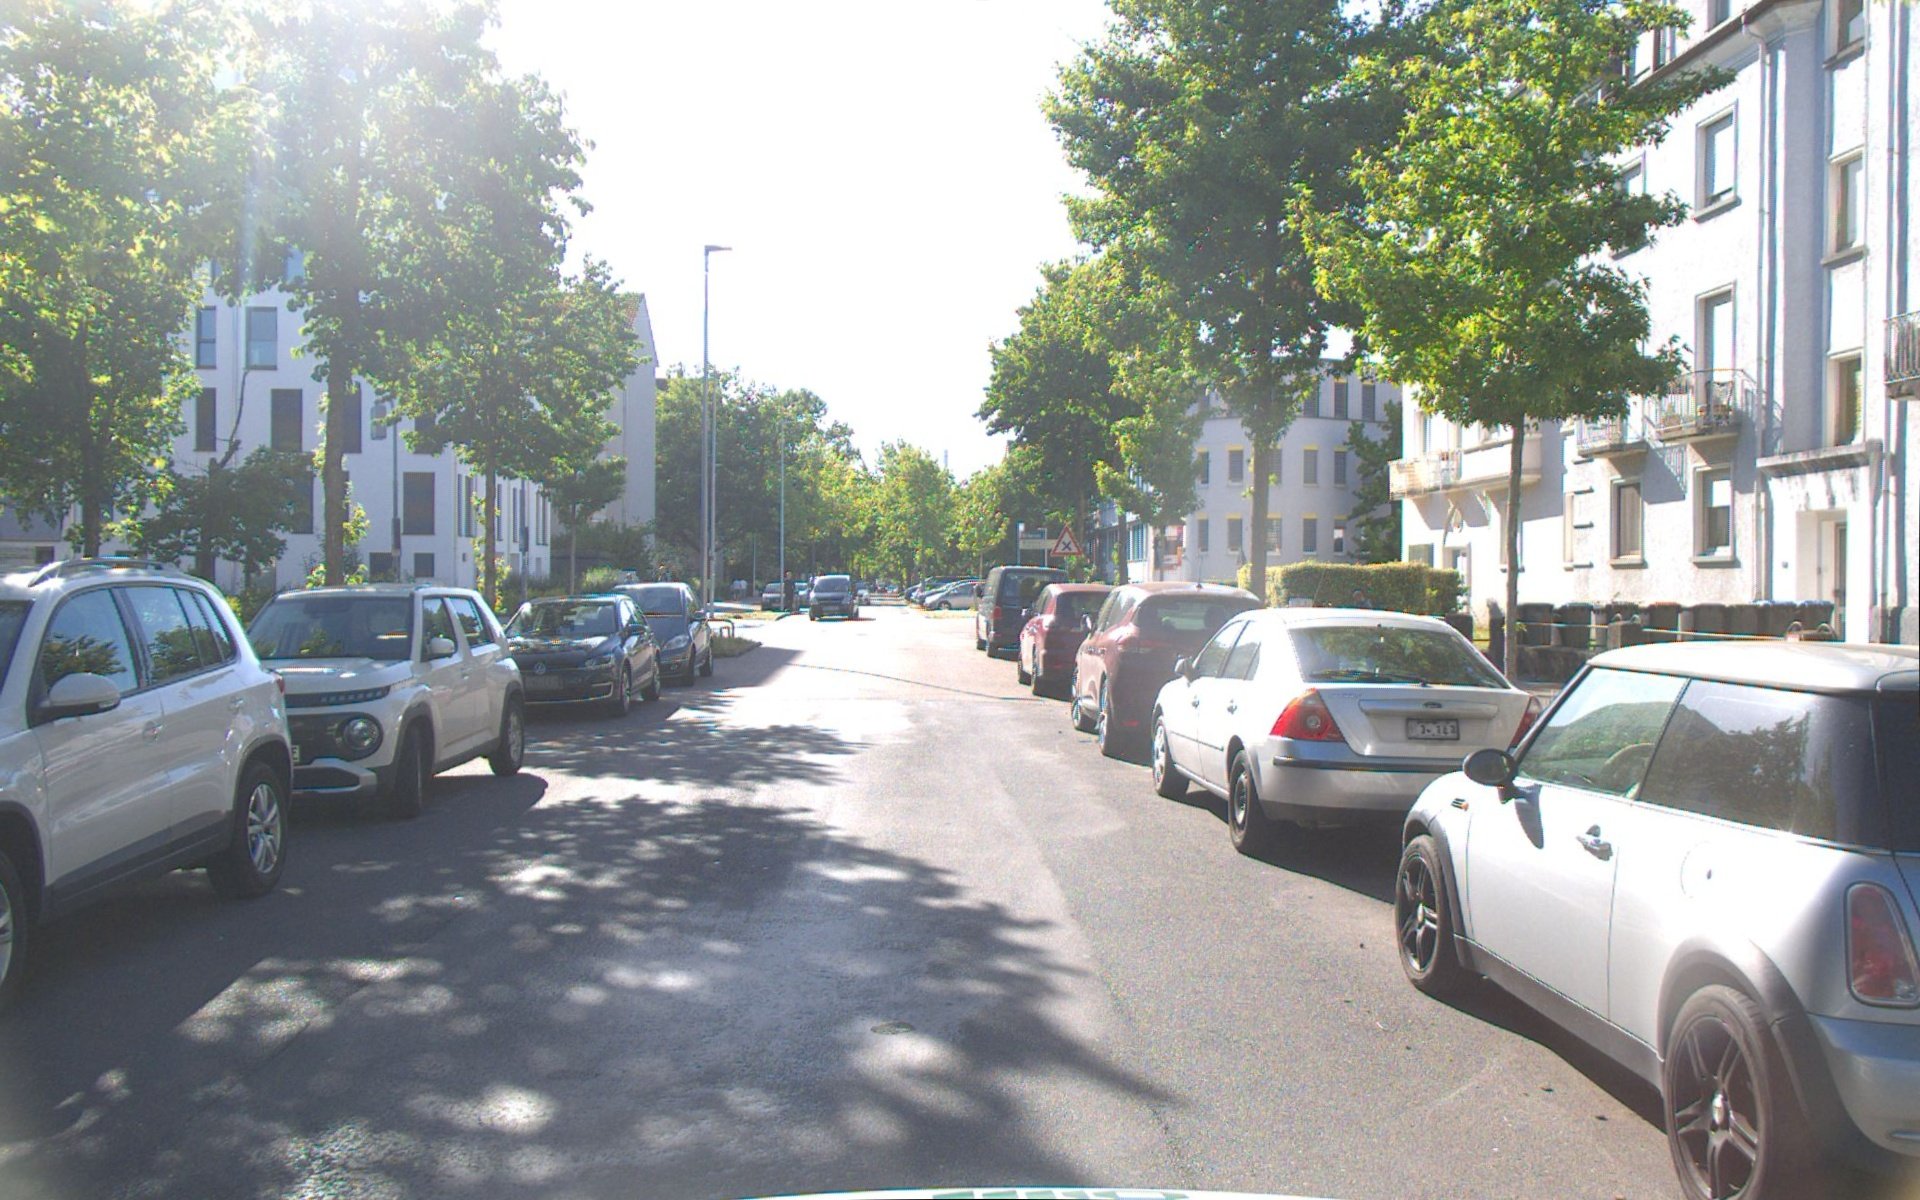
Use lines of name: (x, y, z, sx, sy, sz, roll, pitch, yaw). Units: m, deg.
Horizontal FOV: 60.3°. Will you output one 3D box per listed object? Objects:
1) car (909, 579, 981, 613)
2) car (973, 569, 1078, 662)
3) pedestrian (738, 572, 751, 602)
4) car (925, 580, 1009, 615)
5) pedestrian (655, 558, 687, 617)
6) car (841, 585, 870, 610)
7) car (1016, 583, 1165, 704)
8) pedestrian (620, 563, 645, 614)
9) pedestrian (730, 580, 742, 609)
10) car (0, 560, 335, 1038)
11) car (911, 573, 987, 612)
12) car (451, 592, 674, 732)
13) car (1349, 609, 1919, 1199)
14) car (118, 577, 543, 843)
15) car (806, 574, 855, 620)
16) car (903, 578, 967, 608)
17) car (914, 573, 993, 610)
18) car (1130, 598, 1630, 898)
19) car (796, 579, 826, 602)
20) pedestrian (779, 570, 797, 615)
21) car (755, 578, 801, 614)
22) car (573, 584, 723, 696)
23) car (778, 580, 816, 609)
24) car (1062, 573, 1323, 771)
car: (-0.862, -0.236, 92.508, 3.909, 1.862, 1.998, -1, 1, -5)
car: (1.415, 0.302, 37.692, 1.931, 1.983, 4.982, 0, 1, -3)
pedestrian: (-15.120, -0.916, 116.162, 0.843, 2.049, 0.979, -1, 1, -9)
car: (0.314, -0.116, 80.010, 3.910, 1.615, 1.725, -1, 1, -7)
pedestrian: (-10.261, -0.448, 58.714, 0.841, 2.049, 0.982, 0, 1, 6)
car: (-6.859, -0.206, 109.106, 1.857, 1.588, 3.998, -1, 1, -3)
car: (1.922, 0.593, 25.483, 1.797, 1.628, 4.157, 2, 1, -2)
pedestrian: (-13.147, -0.471, 66.339, 0.842, 2.049, 0.980, -1, 1, -4)
pedestrian: (-15.208, -0.384, 112.407, 0.748, 1.934, 0.817, -1, 1, -9)
car: (-4.223, 0.678, 6.887, 1.775, 1.624, 4.231, -1, 1, -3)
car: (-0.615, -0.402, 88.014, 3.909, 2.049, 1.998, -1, 1, -5)
car: (-4.914, 0.696, 21.075, 1.954, 1.478, 4.260, -3, 1, -3)
car: (2.670, 0.810, 5.375, 1.753, 1.478, 3.780, 1, 1, -3)
car: (-4.389, 0.658, 12.205, 1.676, 1.571, 3.929, -2, 1, -2)
car: (-4.826, -0.127, 62.051, 1.748, 1.637, 3.997, -1, 1, -4)
car: (-1.655, -0.470, 108.596, 3.914, 1.914, 1.996, 0, 0, -10)
car: (-0.337, -0.451, 85.200, 3.909, 1.837, 1.888, -1, 1, -5)
car: (2.485, 0.791, 11.134, 1.859, 1.500, 4.696, 3, 0, -4)
car: (-10.633, -0.678, 118.145, 1.953, 1.612, 3.999, -1, 1, -2)
pedestrian: (-7.465, -0.320, 71.718, 0.702, 1.933, 0.834, -1, 1, -12)
car: (-8.890, -0.196, 81.128, 1.953, 1.700, 3.999, -1, 1, -2)
car: (-5.022, 0.580, 27.144, 1.803, 1.622, 4.260, -2, 1, -3)
car: (-9.488, -0.359, 96.398, 1.953, 1.612, 3.999, -1, 1, -2)
car: (2.257, 0.627, 17.206, 1.869, 1.728, 4.311, 2, 1, -3)
